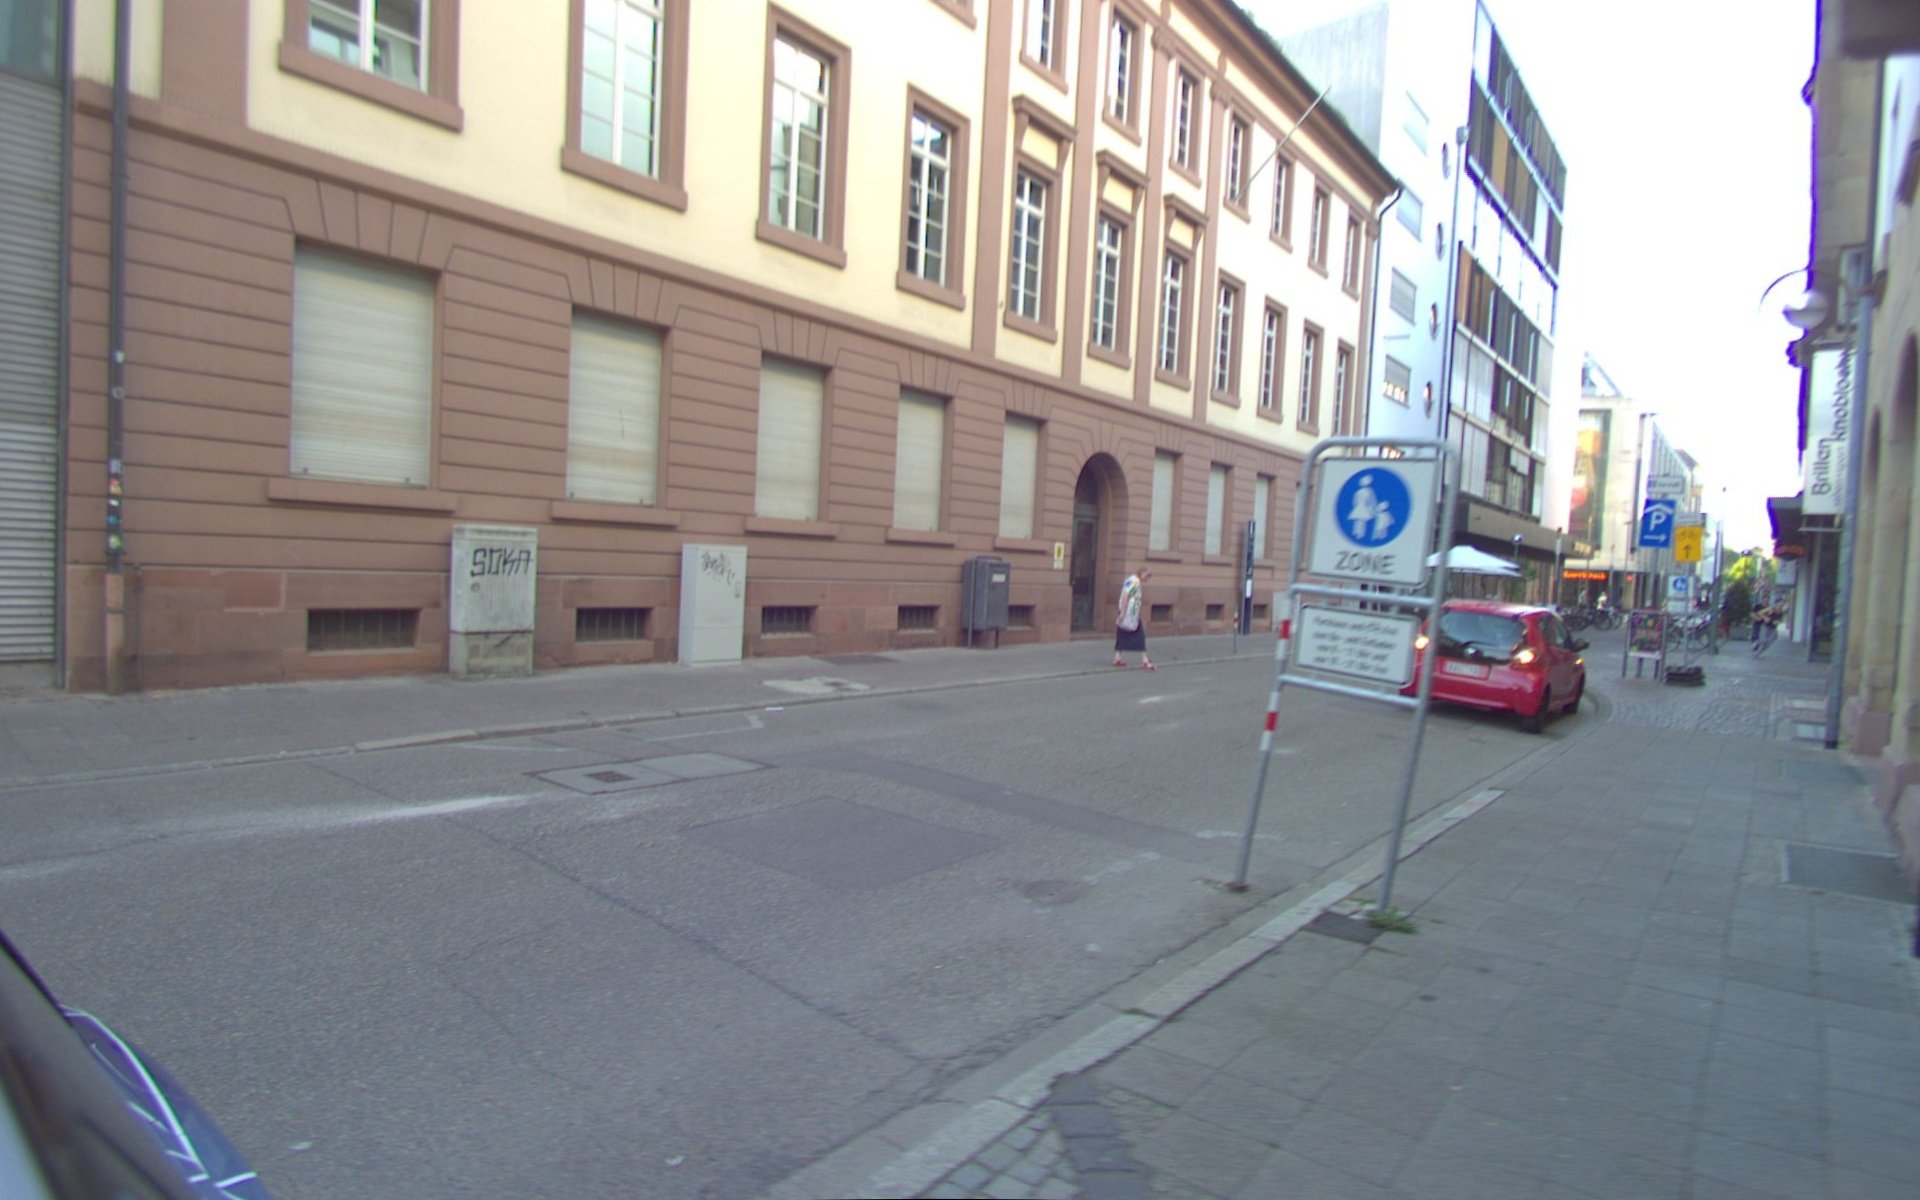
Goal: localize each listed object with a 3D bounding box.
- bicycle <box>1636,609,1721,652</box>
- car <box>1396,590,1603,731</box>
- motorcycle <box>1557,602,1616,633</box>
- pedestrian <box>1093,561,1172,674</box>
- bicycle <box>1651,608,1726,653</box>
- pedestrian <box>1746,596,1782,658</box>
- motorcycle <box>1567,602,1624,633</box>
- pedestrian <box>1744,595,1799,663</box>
[{"bbox_3d":[21.001,0.872,29.586,1.954,1.138,0.611,2,1,41],"label":"bicycle"},{"bbox_3d":[7.064,0.697,13.139,1.638,1.451,3.114,7,4,40],"label":"car"},{"bbox_3d":[28.791,0.792,46.538,2.195,1.292,0.642,5,3,42],"label":"motorcycle"},{"bbox_3d":[2.739,0.263,16.023,0.811,1.683,0.919,4,2,38],"label":"pedestrian"},{"bbox_3d":[20.308,0.834,28.225,1.608,1.127,0.611,4,2,41],"label":"bicycle"},{"bbox_3d":[22.719,0.750,28.580,0.671,1.683,0.753,4,2,41],"label":"pedestrian"},{"bbox_3d":[30.484,0.824,48.560,2.195,1.292,0.642,5,3,42],"label":"motorcycle"},{"bbox_3d":[21.254,0.736,26.514,0.807,1.683,0.923,4,2,24],"label":"pedestrian"}]
